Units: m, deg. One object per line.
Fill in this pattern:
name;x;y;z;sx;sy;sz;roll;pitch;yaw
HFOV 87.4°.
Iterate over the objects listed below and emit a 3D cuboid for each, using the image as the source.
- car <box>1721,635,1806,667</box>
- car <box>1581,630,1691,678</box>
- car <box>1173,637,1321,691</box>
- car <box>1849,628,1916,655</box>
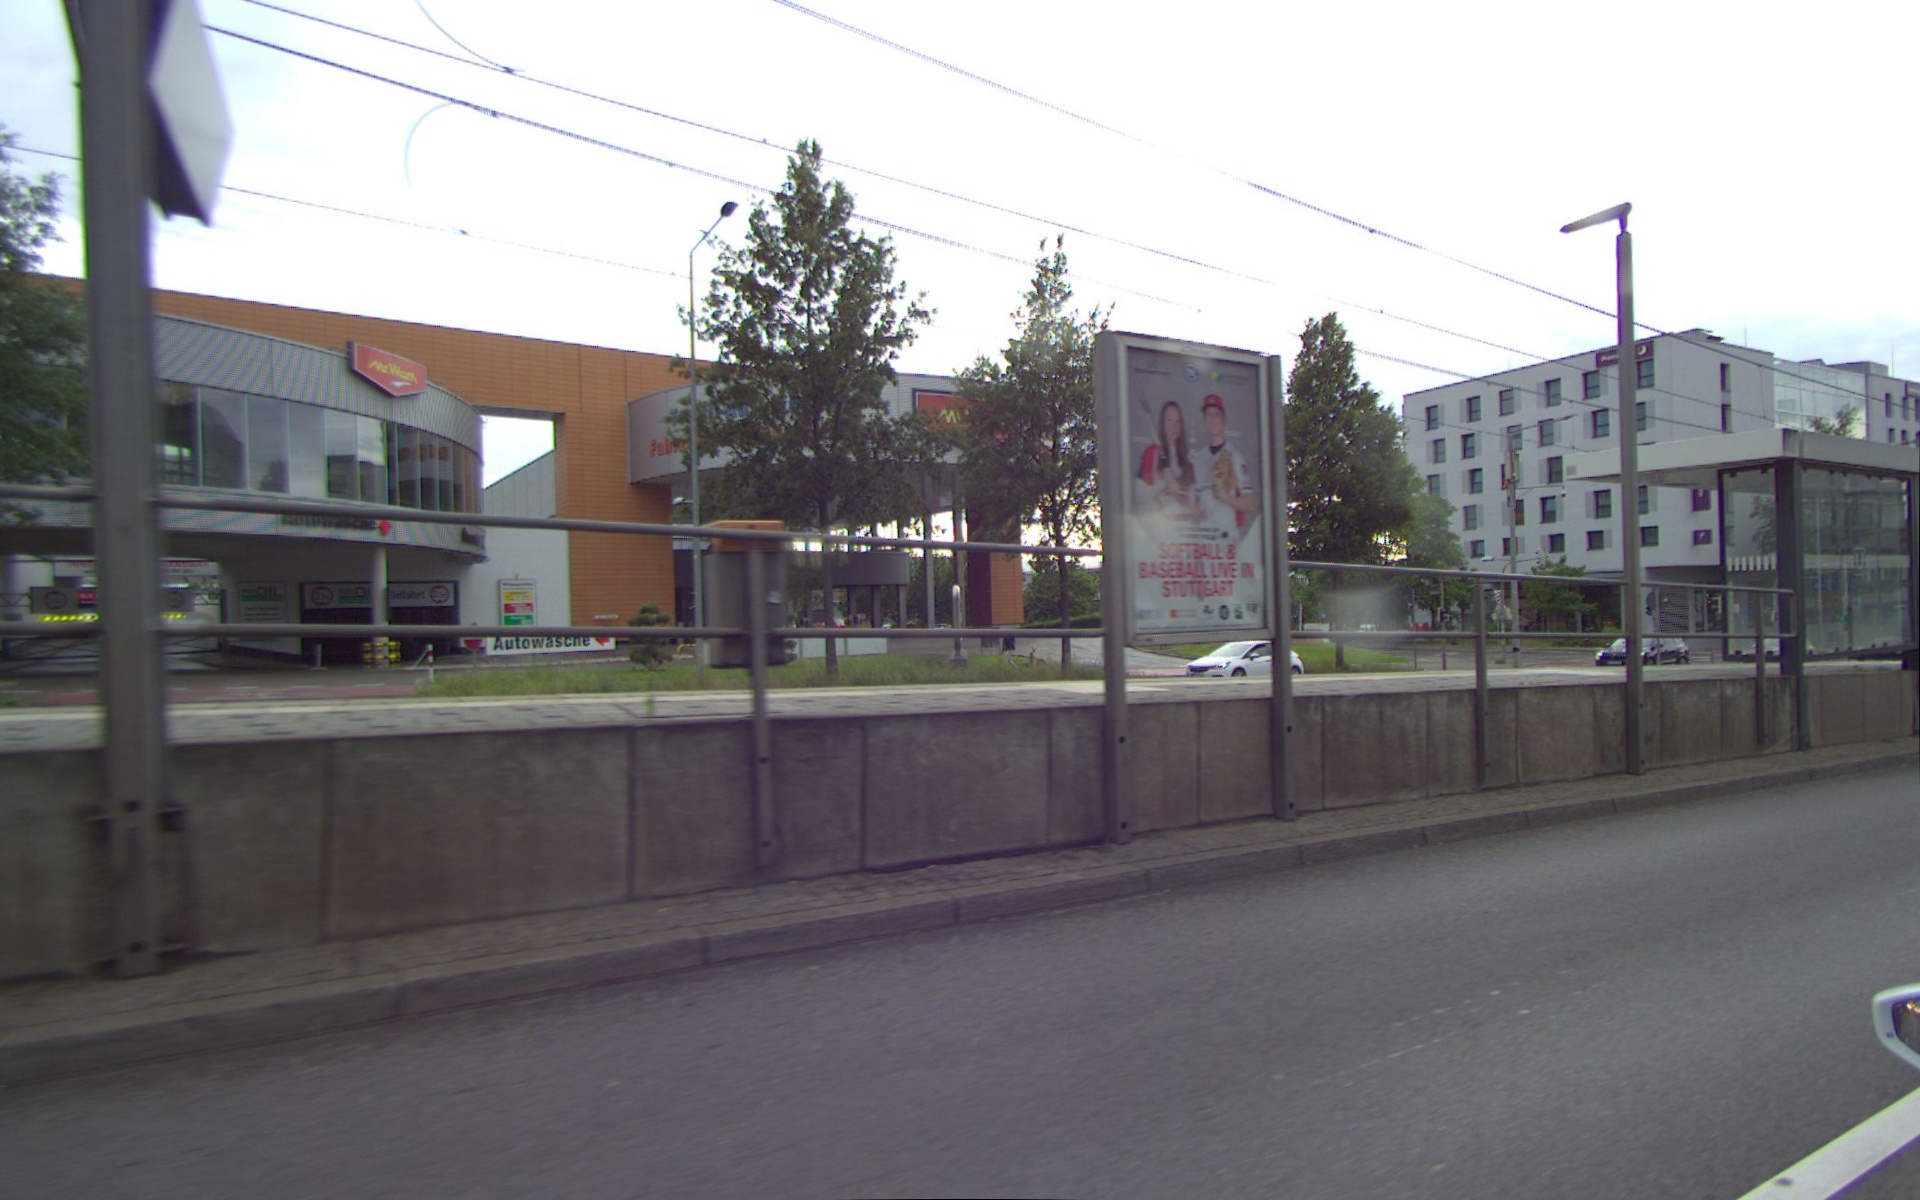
car;37.831;2.369;47.259;4.341;1.446;1.843;1;-3;-33
car;26.919;2.115;39.972;4.337;1.798;1.984;1;-1;-30
car;9.235;2.000;32.187;4.656;1.538;1.982;2;0;-33
car;50.427;2.254;54.890;3.736;1.442;1.720;1;-1;-31
